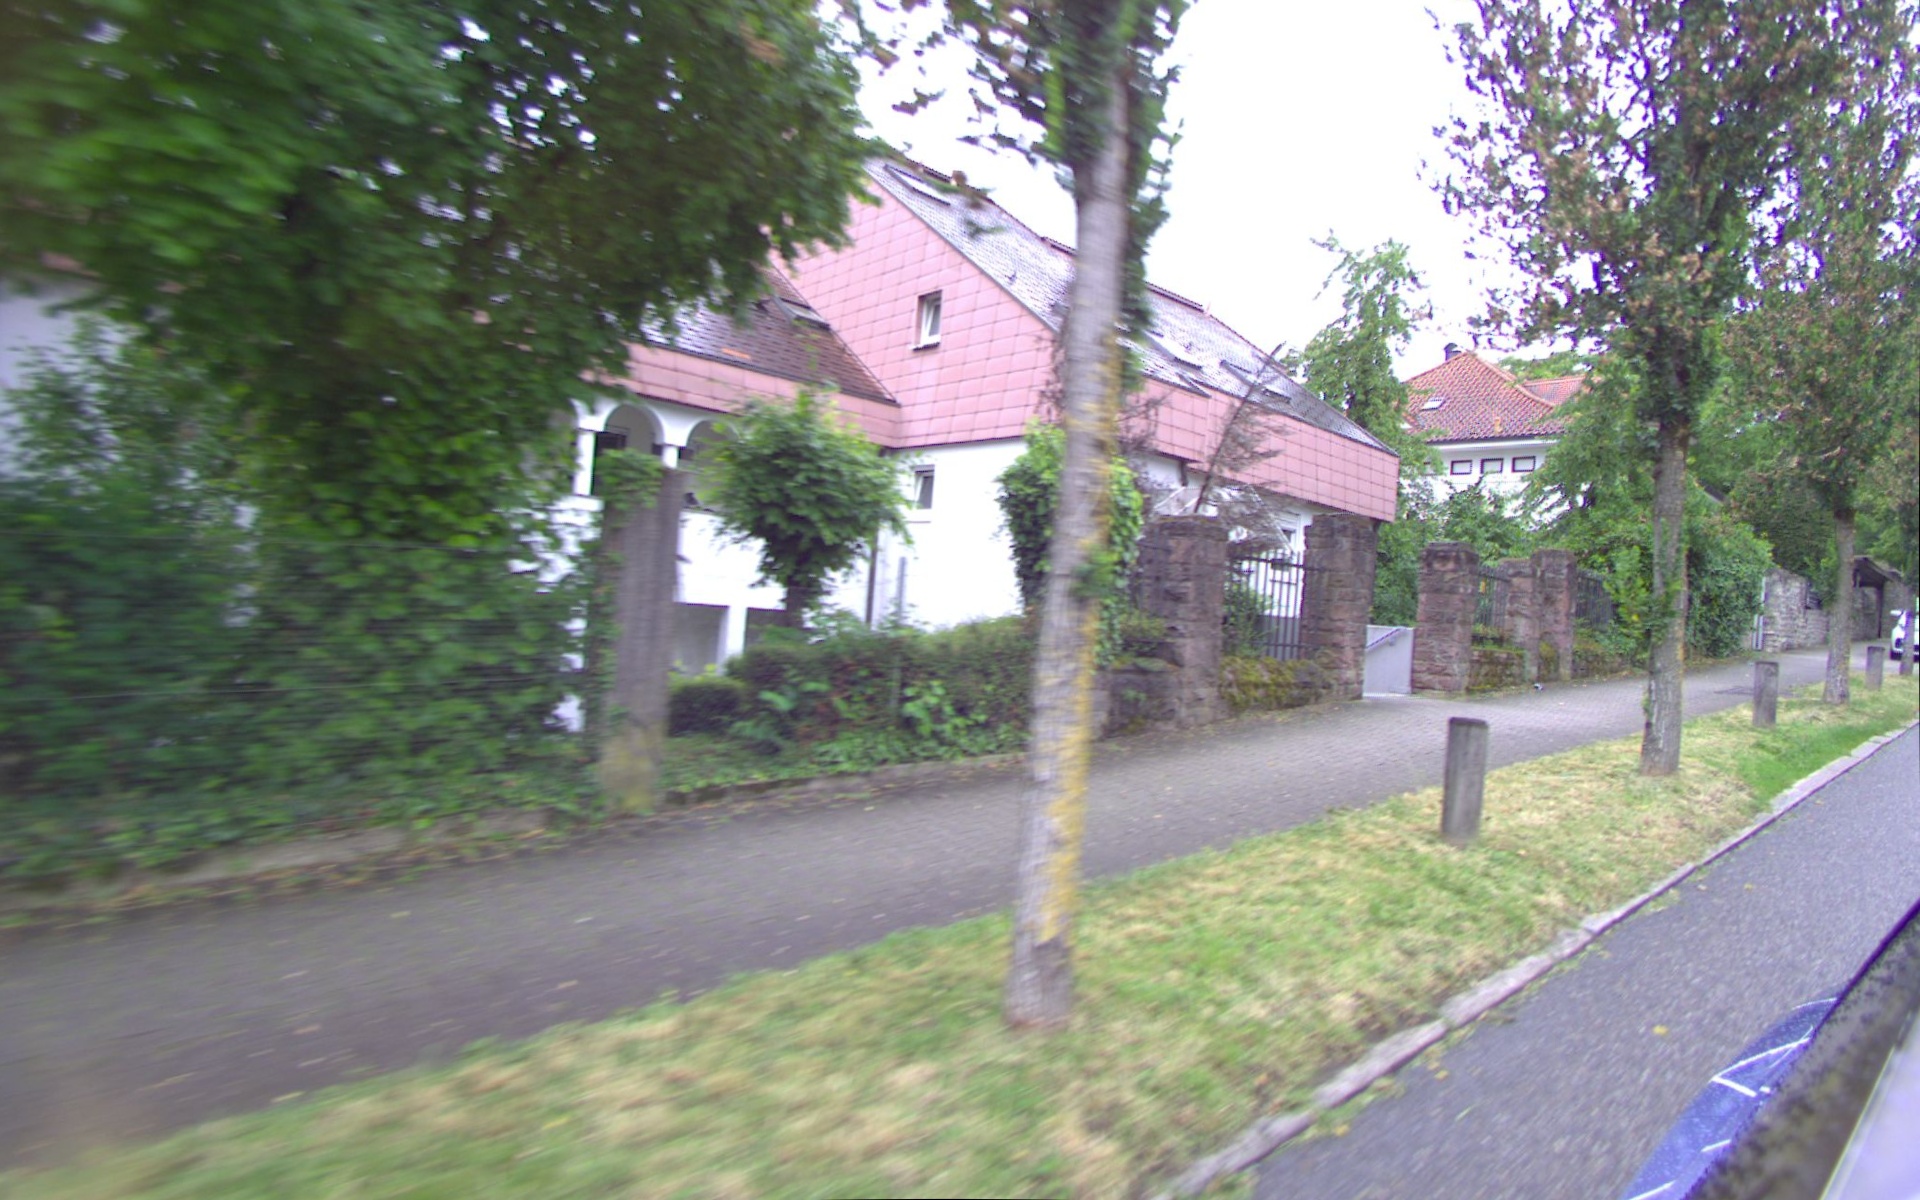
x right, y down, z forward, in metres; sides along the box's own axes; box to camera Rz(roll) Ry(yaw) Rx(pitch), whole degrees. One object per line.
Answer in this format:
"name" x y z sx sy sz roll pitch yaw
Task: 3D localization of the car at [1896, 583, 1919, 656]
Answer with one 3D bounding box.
"car" 23.773 0.501 24.078 3.932 1.649 1.828 0 4 -43
